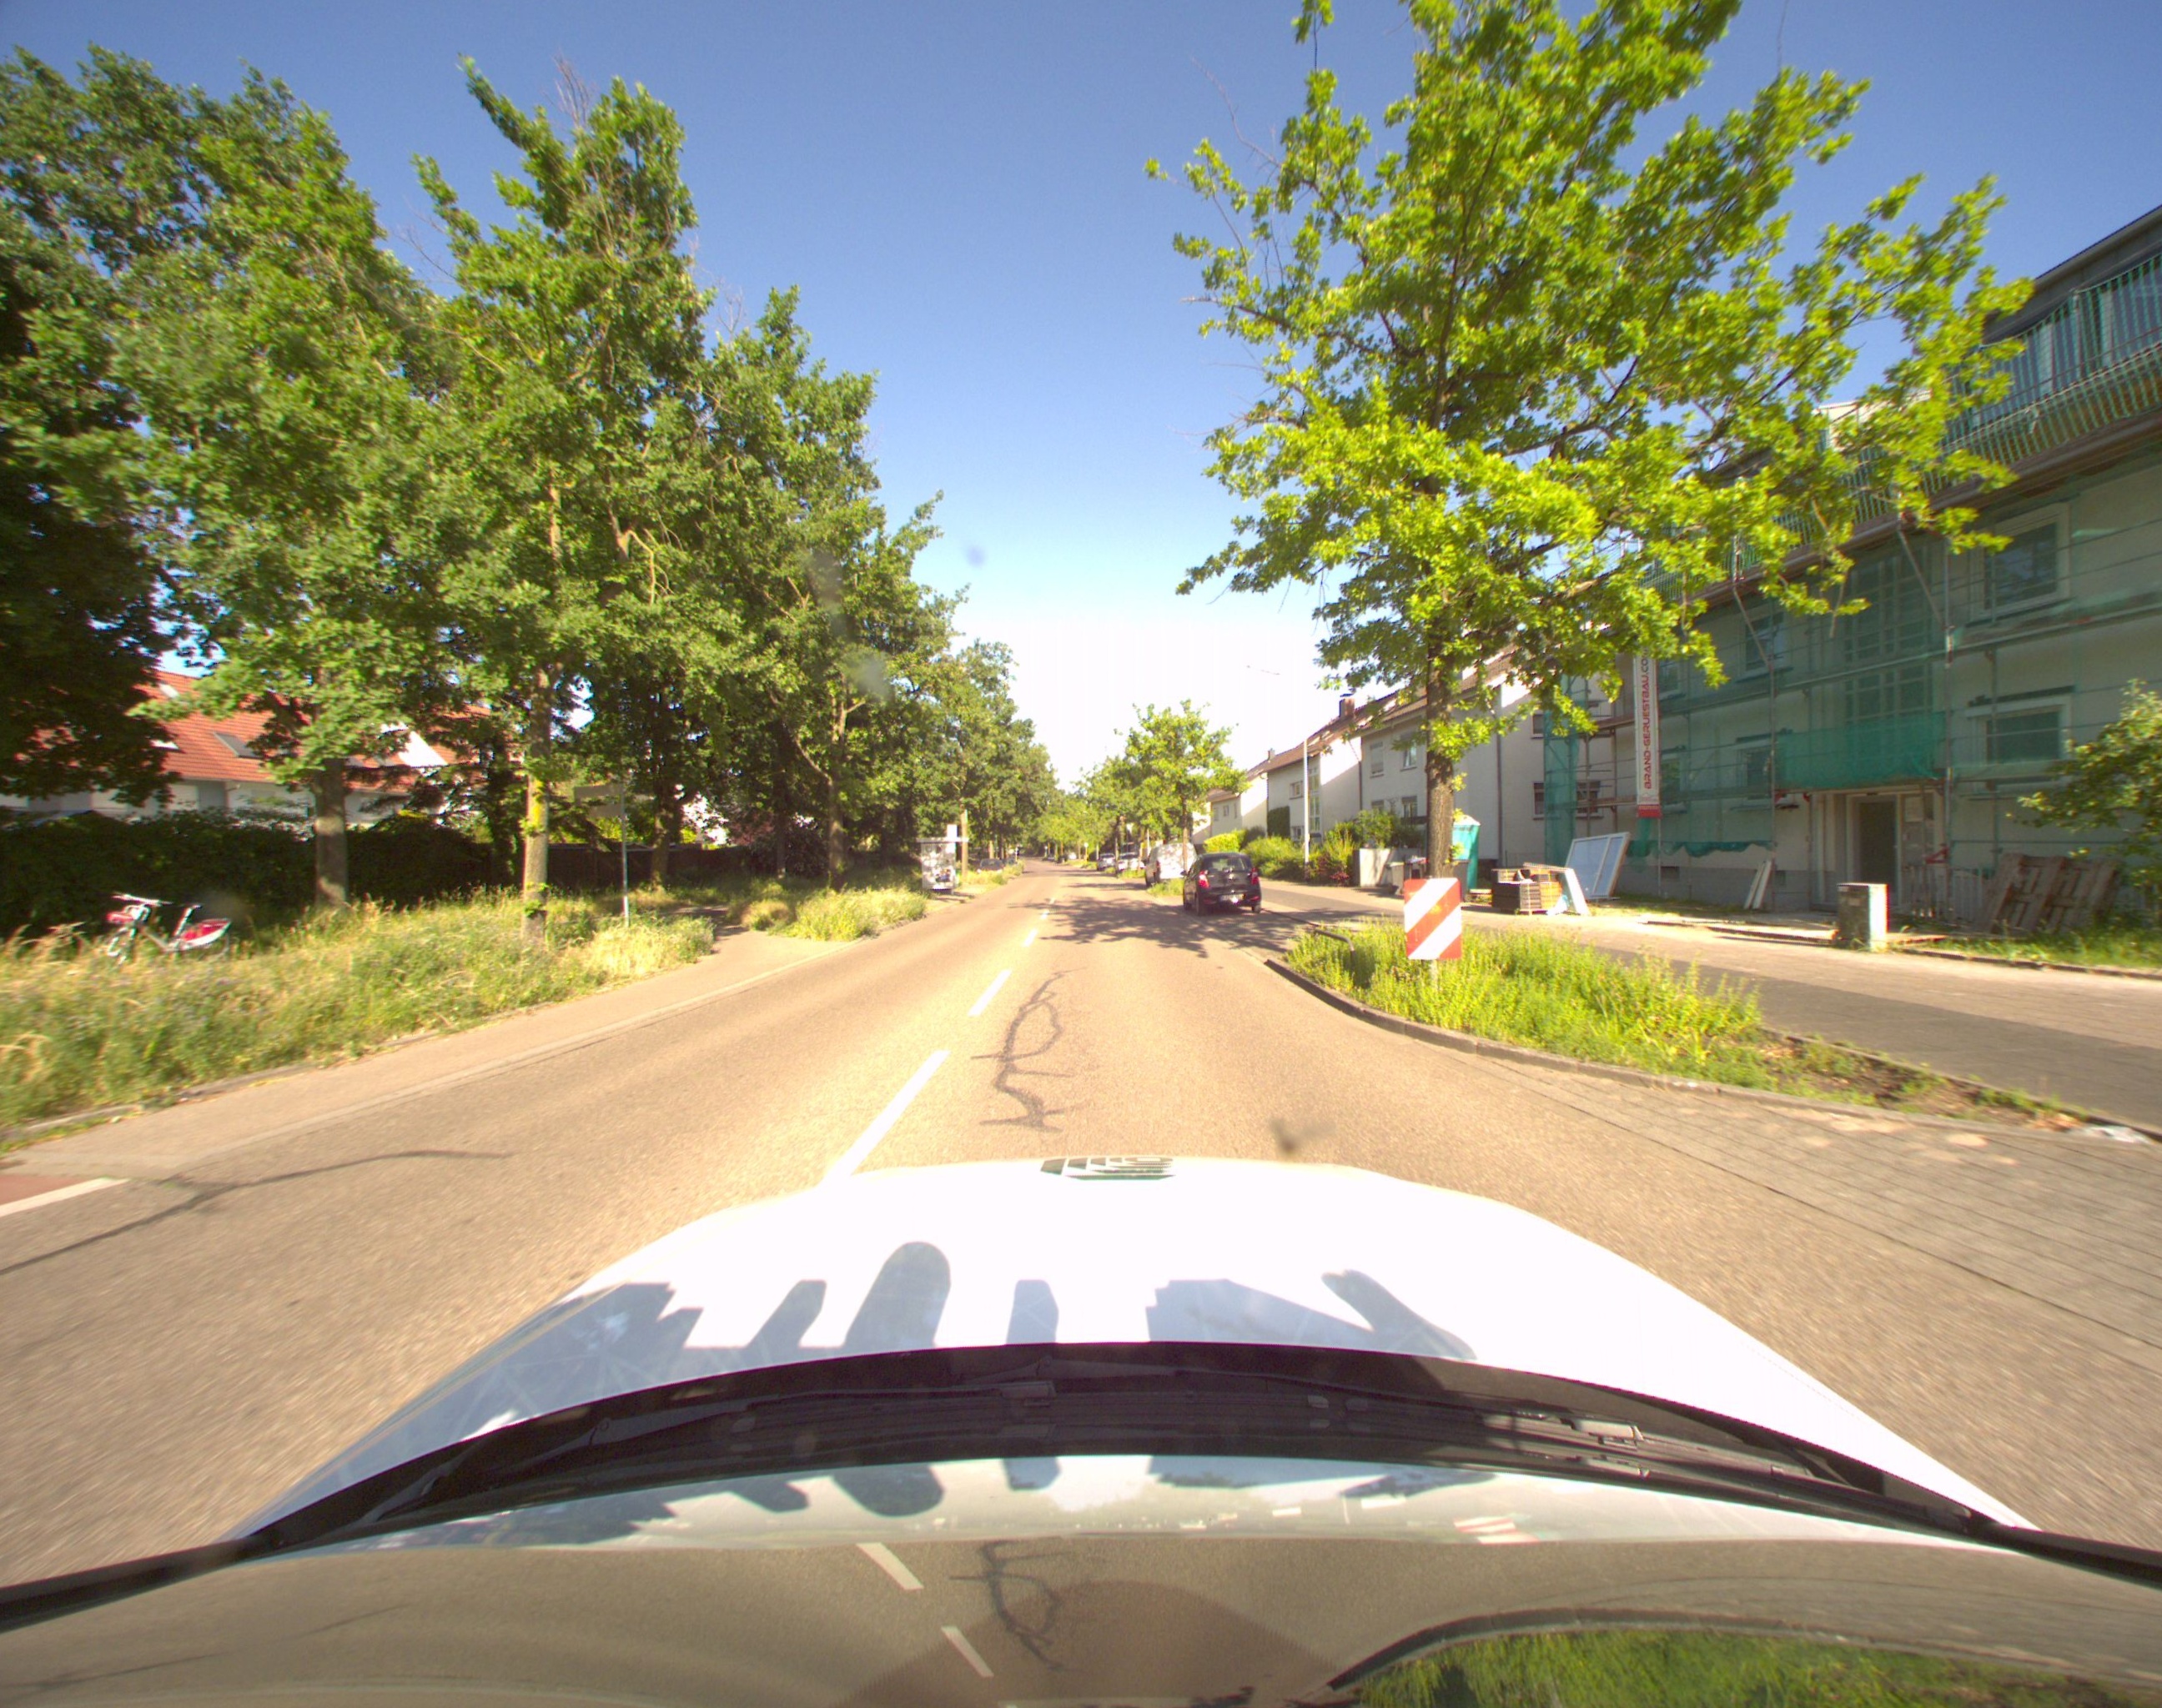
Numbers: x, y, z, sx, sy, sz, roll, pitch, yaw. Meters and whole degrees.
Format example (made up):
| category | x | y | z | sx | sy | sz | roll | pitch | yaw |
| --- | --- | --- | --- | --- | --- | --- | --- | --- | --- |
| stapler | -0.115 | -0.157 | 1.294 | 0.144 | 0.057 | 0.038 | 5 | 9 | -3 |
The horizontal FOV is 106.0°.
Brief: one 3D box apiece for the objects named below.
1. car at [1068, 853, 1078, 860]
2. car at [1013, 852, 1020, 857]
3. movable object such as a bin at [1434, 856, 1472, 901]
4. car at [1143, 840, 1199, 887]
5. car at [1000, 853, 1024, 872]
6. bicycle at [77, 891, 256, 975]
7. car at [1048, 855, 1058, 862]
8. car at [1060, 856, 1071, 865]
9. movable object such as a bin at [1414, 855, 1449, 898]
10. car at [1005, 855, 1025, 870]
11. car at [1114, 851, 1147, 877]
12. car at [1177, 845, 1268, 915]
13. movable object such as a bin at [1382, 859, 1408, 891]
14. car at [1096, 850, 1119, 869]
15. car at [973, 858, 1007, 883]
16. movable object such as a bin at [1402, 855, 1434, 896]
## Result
| category | x | y | z | sx | sy | sz | roll | pitch | yaw |
| --- | --- | --- | --- | --- | --- | --- | --- | --- | --- |
| car | -1.657 | 0.593 | 174.471 | 1.929 | 1.454 | 3.995 | -1 | 0 | -3 |
| car | -18.543 | 0.123 | 235.535 | 1.929 | 1.454 | 3.995 | -1 | 0 | -3 |
| movable object such as a bin | 9.114 | 0.589 | 19.967 | 0.602 | 1.069 | 0.646 | -1 | 0 | -1 |
| car | 3.967 | 0.409 | 36.603 | 1.831 | 1.971 | 4.755 | -1 | 0 | -2 |
| car | -5.985 | 0.738 | 71.137 | 1.990 | 1.556 | 3.994 | 0 | 0 | -4 |
| bicycle | -13.465 | 1.125 | 12.080 | 0.503 | 1.053 | 1.880 | -1 | 0 | 1 |
| car | -6.108 | 1.034 | 176.735 | 1.929 | 1.454 | 3.995 | -1 | 0 | -3 |
| car | -2.922 | 1.124 | 148.533 | 1.928 | 1.542 | 3.997 | -1 | 0 | -2 |
| movable object such as a bin | 9.008 | 0.575 | 20.955 | 0.602 | 1.069 | 0.646 | -1 | 0 | -1 |
| car | -6.689 | 0.827 | 83.081 | 1.791 | 1.479 | 3.518 | -1 | 0 | -1 |
| car | 3.395 | 0.649 | 56.734 | 1.931 | 1.704 | 3.997 | -1 | 0 | -2 |
| car | 3.577 | 0.628 | 21.221 | 1.667 | 1.578 | 3.751 | -3 | 0 | 0 |
| movable object such as a bin | 9.179 | 0.605 | 23.812 | 0.528 | 0.932 | 0.549 | -1 | 0 | -1 |
| car | 2.558 | 0.528 | 79.314 | 1.928 | 1.742 | 3.997 | -1 | 0 | -2 |
| car | -5.744 | 1.001 | 51.832 | 1.932 | 1.479 | 3.995 | -1 | 0 | -4 |
| movable object such as a bin | 9.063 | 0.564 | 21.900 | 0.602 | 1.069 | 0.567 | -1 | 0 | -1 |
